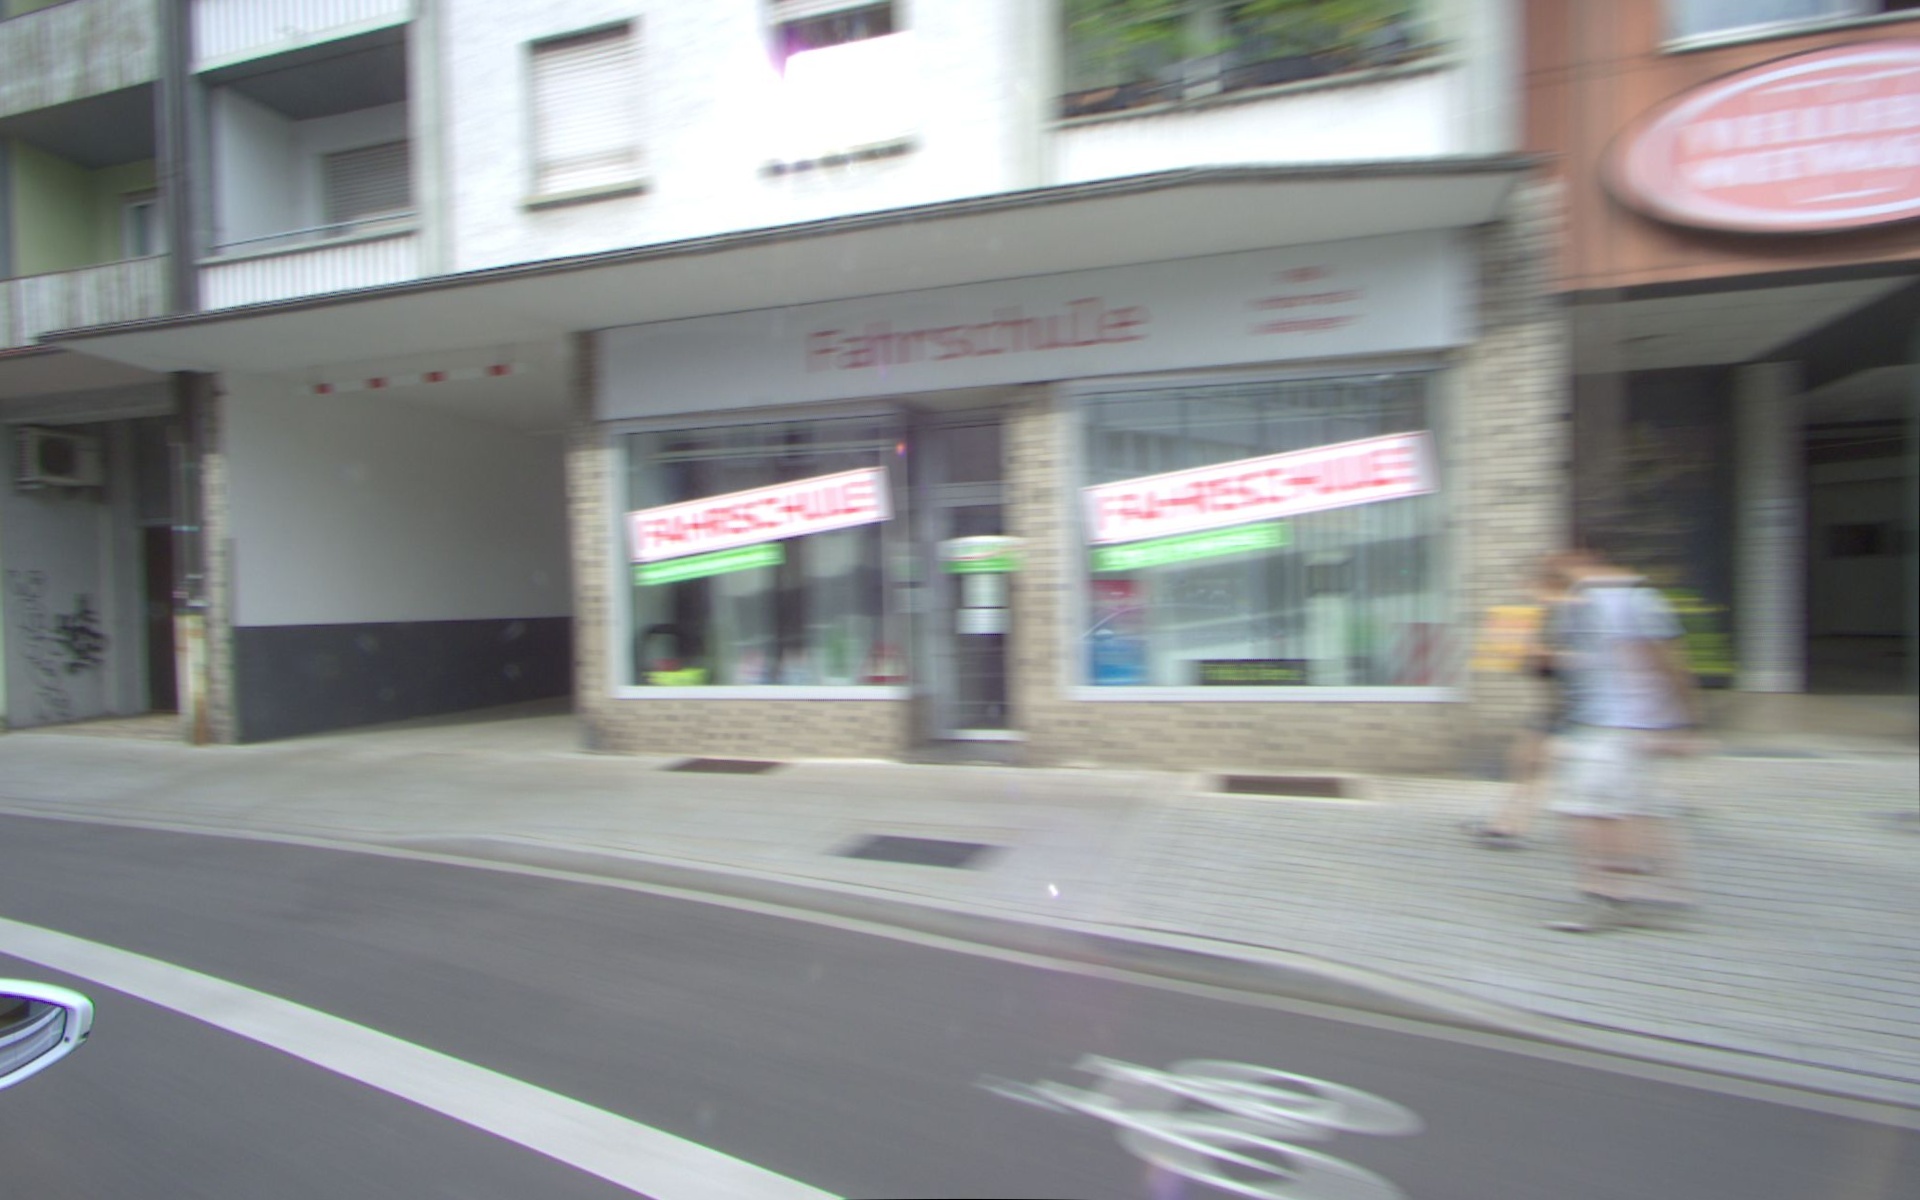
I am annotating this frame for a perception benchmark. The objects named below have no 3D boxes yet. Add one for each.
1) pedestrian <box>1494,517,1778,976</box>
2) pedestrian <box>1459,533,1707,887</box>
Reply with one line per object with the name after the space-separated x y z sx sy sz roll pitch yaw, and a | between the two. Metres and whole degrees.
2.840 0.552 4.326 0.845 1.775 0.751 0 4 22 | pedestrian
3.149 0.518 5.152 0.927 1.692 0.605 -1 4 16 | pedestrian
